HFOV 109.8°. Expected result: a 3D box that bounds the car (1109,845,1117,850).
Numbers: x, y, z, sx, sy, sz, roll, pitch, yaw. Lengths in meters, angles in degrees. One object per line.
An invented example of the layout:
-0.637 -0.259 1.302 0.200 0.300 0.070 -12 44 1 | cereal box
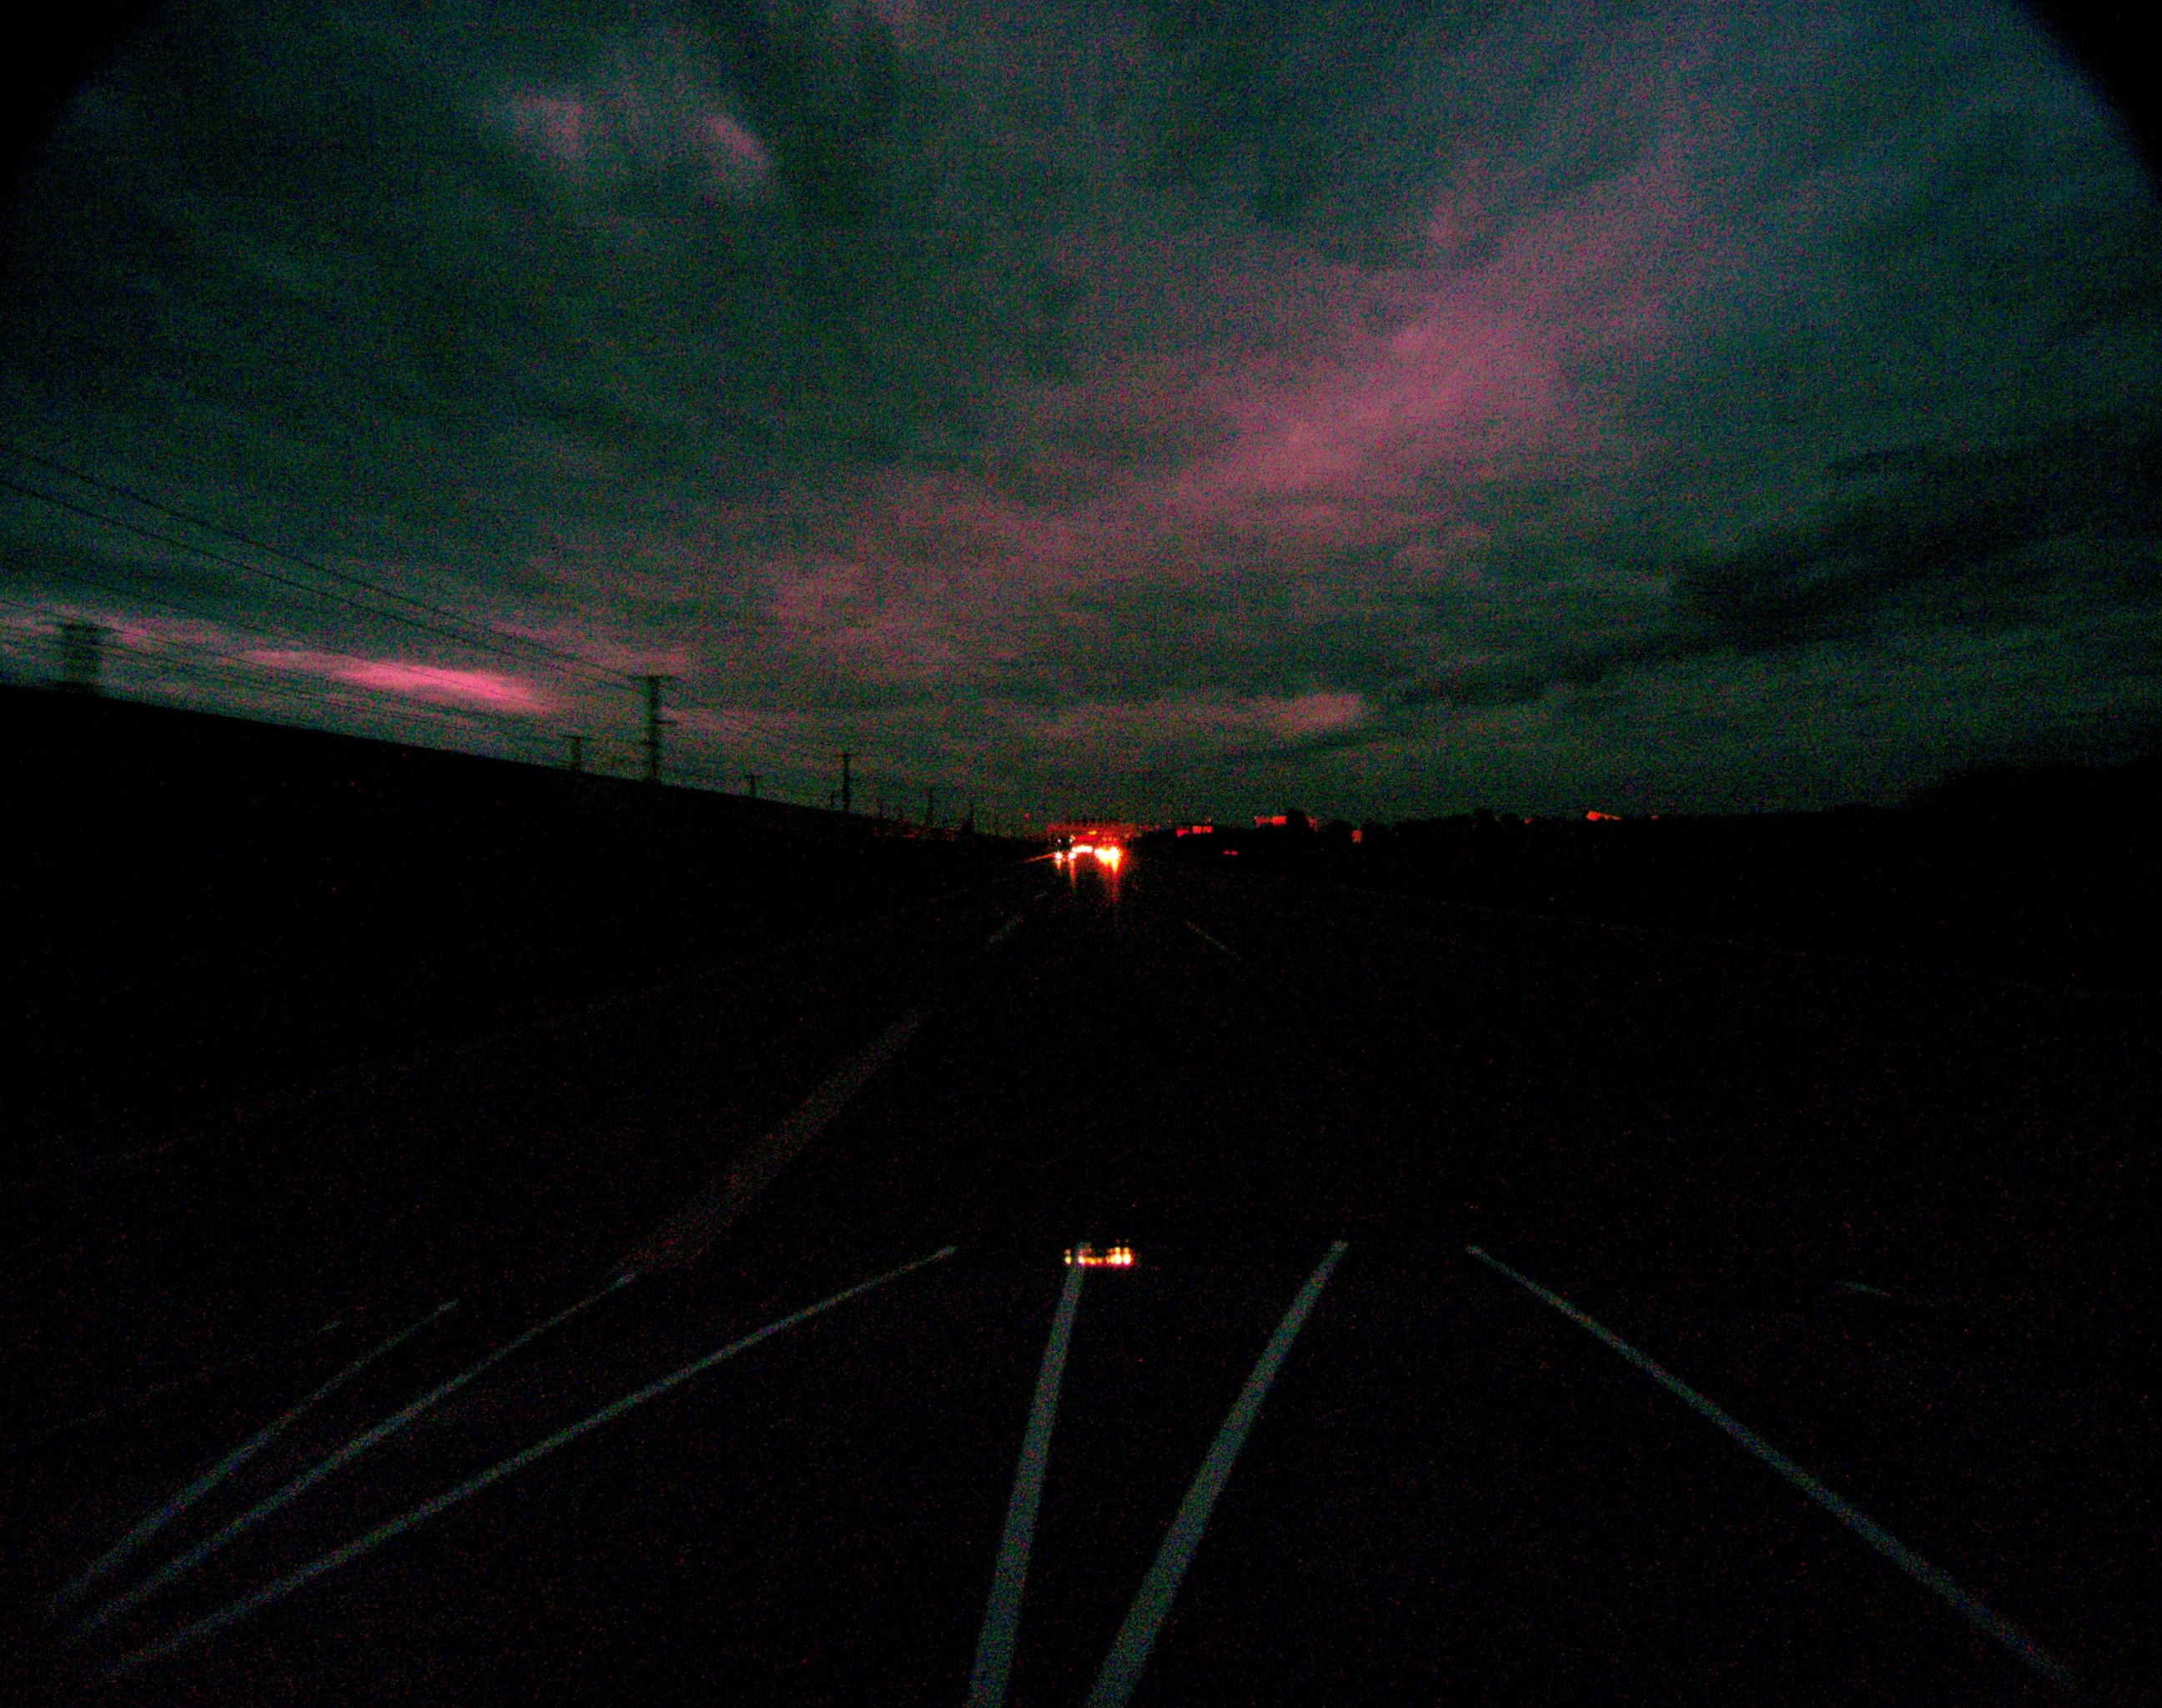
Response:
8.918 -1.950 214.599 1.999 1.342 4.174 -1 1 -1 | car

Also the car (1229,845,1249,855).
21.956 -0.601 105.825 1.998 1.342 4.175 -1 1 1 | car

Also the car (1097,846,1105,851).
5.314 -1.476 201.097 1.998 1.342 4.175 -1 1 1 | car

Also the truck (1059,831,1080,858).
-1.746 -1.442 122.953 3.060 4.046 10.522 2 -1 0 | truck

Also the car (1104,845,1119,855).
4.583 -0.633 114.754 1.999 1.342 4.174 4 0 -1 | car
